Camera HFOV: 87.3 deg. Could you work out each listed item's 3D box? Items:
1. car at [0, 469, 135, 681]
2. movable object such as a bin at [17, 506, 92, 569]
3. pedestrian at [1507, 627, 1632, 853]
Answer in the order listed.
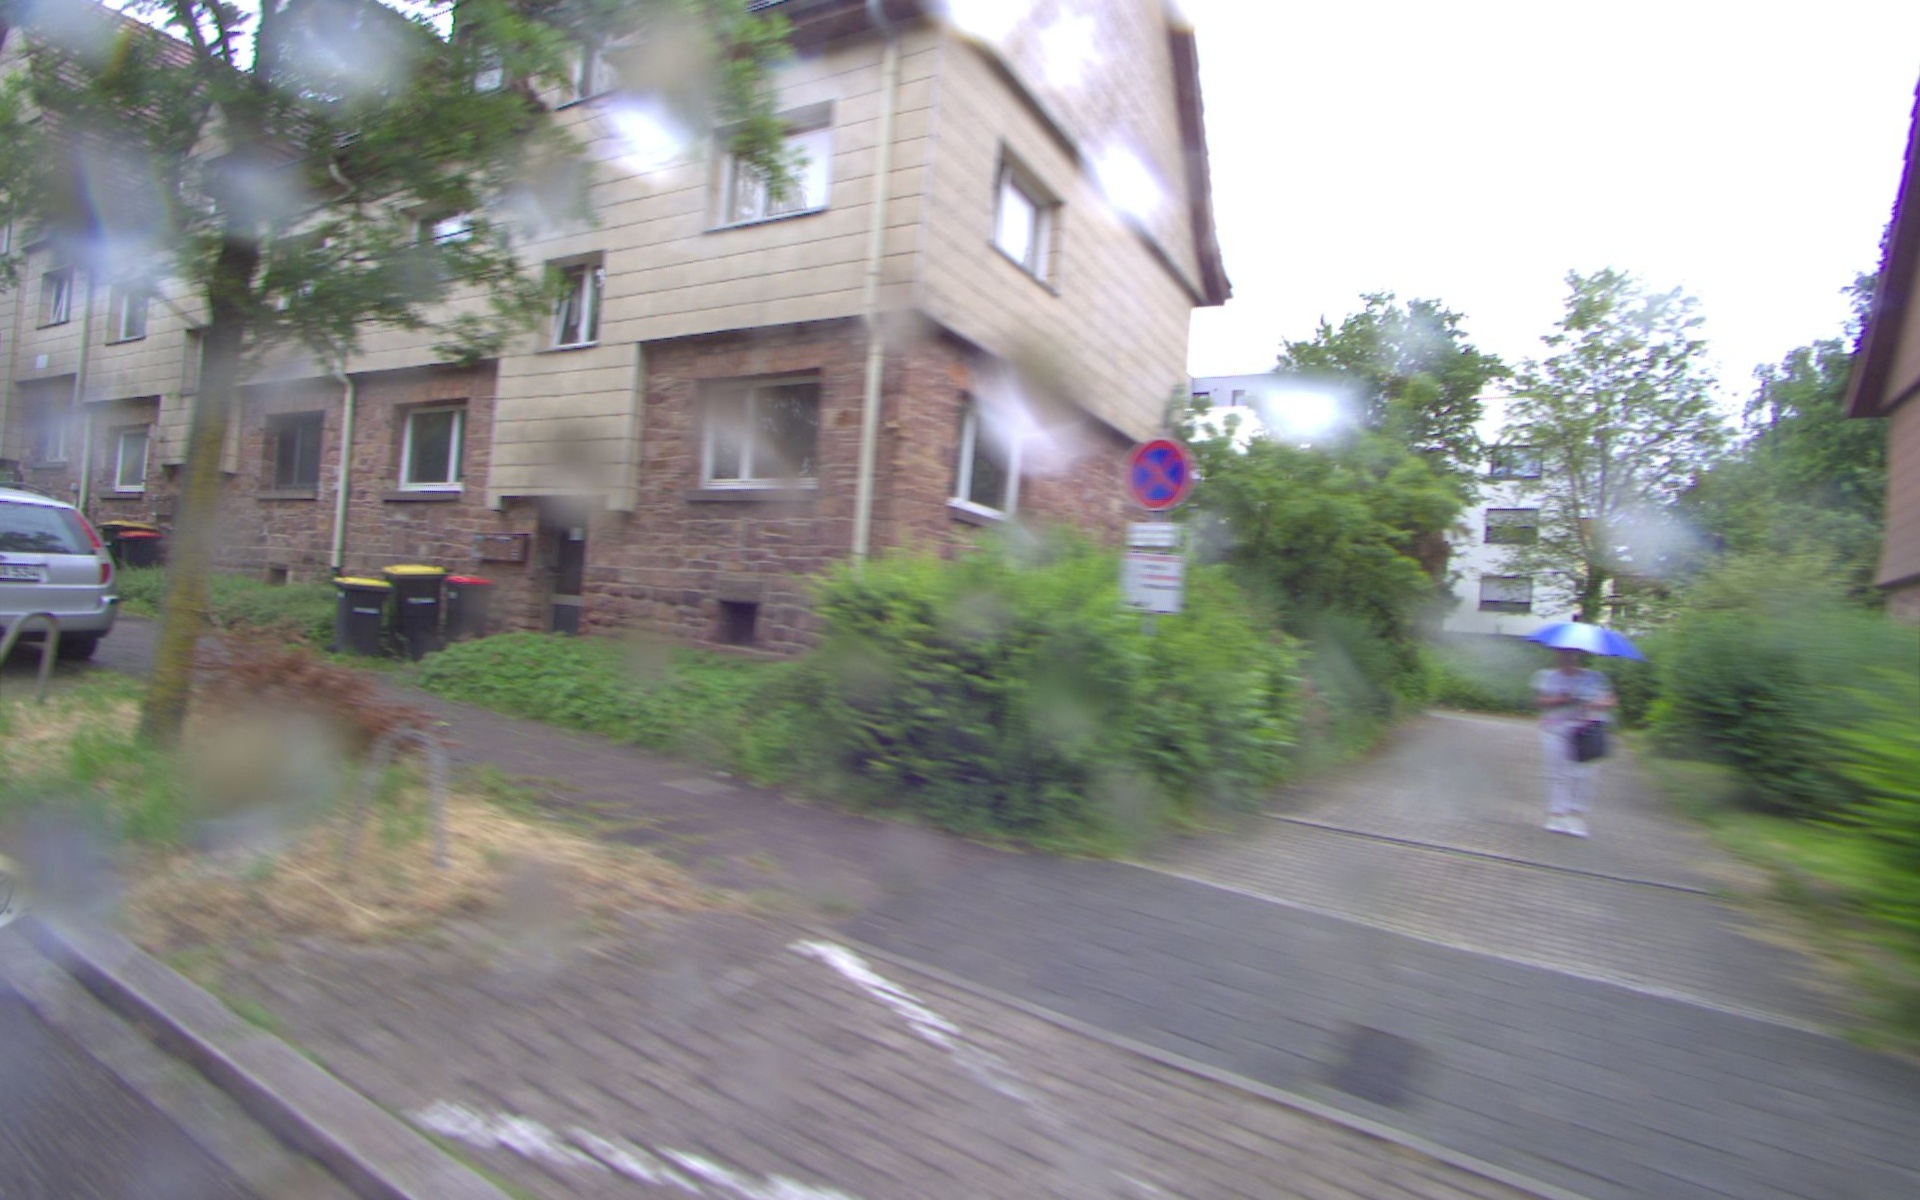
[{"bbox_3d":[-9.309,-0.417,8.960,4.566,1.606,1.700,7,4,33],"label":"car"},{"bbox_3d":[-16.580,-1.145,18.422,0.926,0.977,0.701,7,-1,32],"label":"movable object such as a bin"},{"bbox_3d":[5.040,1.122,8.310,0.643,1.701,0.707,8,2,37],"label":"pedestrian"}]
